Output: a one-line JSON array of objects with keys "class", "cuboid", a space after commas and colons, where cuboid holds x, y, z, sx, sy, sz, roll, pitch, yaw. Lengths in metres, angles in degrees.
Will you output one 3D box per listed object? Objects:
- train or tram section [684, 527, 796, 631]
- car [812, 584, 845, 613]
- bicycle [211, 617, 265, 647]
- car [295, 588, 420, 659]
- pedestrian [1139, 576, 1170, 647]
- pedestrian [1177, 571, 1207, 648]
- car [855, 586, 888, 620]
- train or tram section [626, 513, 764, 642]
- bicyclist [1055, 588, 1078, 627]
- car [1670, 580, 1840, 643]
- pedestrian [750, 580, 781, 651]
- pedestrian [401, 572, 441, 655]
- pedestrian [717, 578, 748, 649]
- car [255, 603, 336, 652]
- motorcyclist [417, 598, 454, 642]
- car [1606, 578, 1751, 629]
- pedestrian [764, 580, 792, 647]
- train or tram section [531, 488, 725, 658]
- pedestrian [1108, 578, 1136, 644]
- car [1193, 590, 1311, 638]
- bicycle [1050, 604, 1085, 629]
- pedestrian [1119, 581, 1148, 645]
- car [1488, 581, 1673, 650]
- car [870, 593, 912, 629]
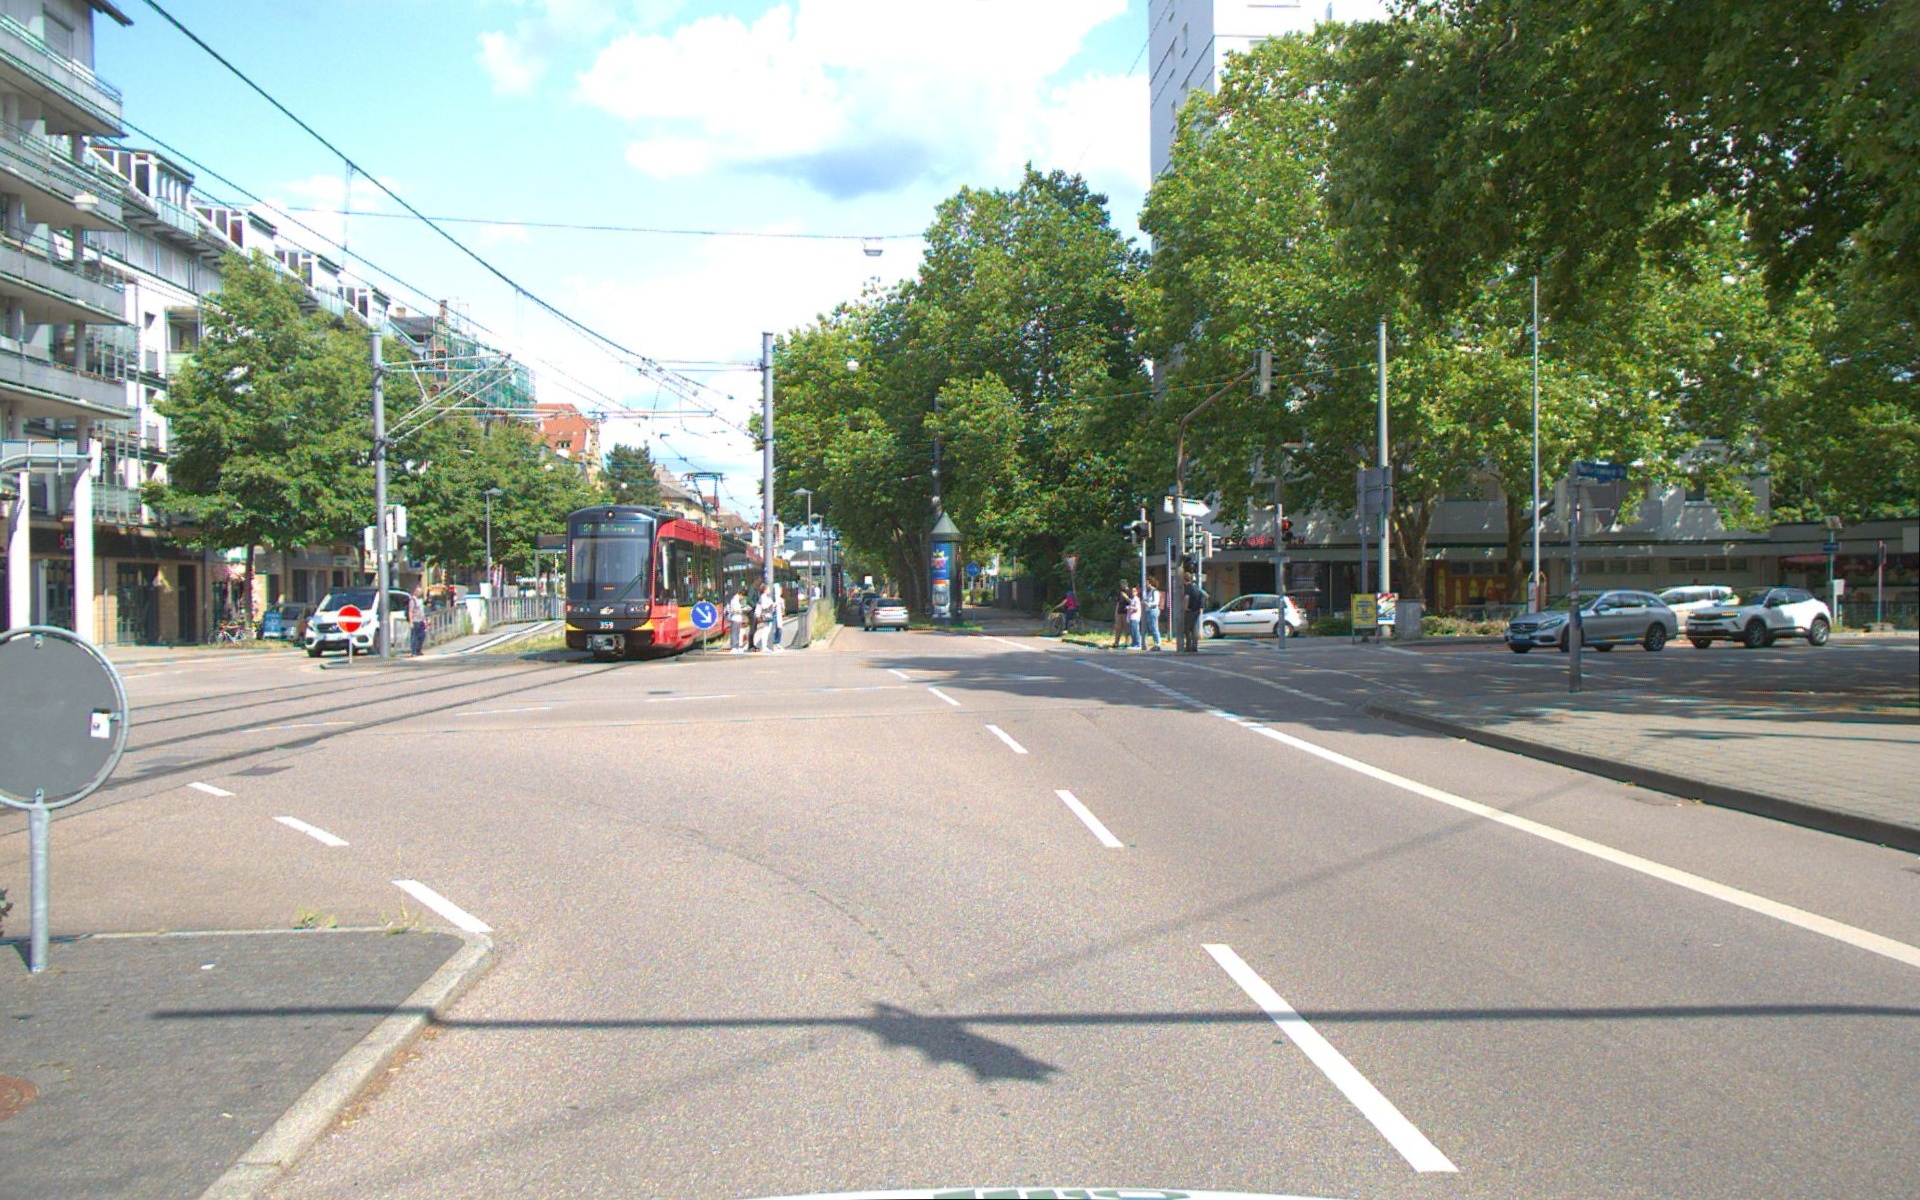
[{"class": "train or tram section", "cuboid": [-8.381, -0.803, 64.528, 2.748, 3.623, 12.156, -1, 0, 0]}, {"class": "car", "cuboid": [-8.433, -0.118, 106.172, 1.778, 1.836, 3.999, -1, 0, -1]}, {"class": "bicycle", "cuboid": [-25.468, 1.111, 58.370, 1.656, 1.003, 0.497, -1, 0, -7]}, {"class": "car", "cuboid": [-17.376, 0.622, 47.982, 1.954, 1.924, 5.169, -1, 0, -3]}, {"class": "pedestrian", "cuboid": [4.891, 0.275, 41.616, 0.520, 1.766, 0.552, -1, 0, -25]}, {"class": "pedestrian", "cuboid": [5.635, 0.225, 40.157, 0.472, 1.857, 0.554, -1, 0, 39]}, {"class": "car", "cuboid": [-5.551, 0.168, 103.324, 1.954, 2.049, 3.996, 0, 0, -4]}, {"class": "train or tram section", "cuboid": [-8.238, -0.683, 52.877, 2.749, 3.623, 11.179, -1, 0, -1]}, {"class": "bicyclist", "cuboid": [3.931, 0.286, 60.932, 0.605, 1.409, 0.876, -1, 0, -13]}, {"class": "car", "cuboid": [20.490, 0.274, 42.636, 4.011, 1.516, 1.846, -1, 0, -25]}, {"class": "pedestrian", "cuboid": [-4.854, 0.380, 41.294, 0.656, 1.732, 0.648, -1, 0, -1]}, {"class": "pedestrian", "cuboid": [-13.523, 0.343, 41.486, 0.723, 2.049, 0.704, -1, 0, 2]}, {"class": "pedestrian", "cuboid": [-5.672, 0.334, 41.285, 0.656, 1.732, 0.648, -1, 0, -1]}, {"class": "car", "cuboid": [-26.386, 1.058, 65.773, 1.810, 1.821, 3.996, 1, 0, -4]}, {"class": "motorcyclist", "cuboid": [-17.359, 0.662, 54.739, 0.876, 1.428, 1.087, -1, 0, -3]}, {"class": "car", "cuboid": [22.575, 0.104, 52.032, 3.765, 1.516, 1.857, -1, 0, -9]}, {"class": "pedestrian", "cuboid": [-4.763, 0.347, 43.347, 0.656, 1.732, 0.648, -1, 0, -1]}, {"class": "train or tram section", "cuboid": [-8.008, -0.635, 41.586, 2.739, 3.623, 11.374, -1, 0, -1]}, {"class": "pedestrian", "cuboid": [4.252, 0.291, 43.528, 0.504, 1.700, 0.552, -1, 0, -25]}, {"class": "car", "cuboid": [9.648, 0.451, 54.637, 3.585, 1.510, 1.736, -1, 0, 21]}, {"class": "bicycle", "cuboid": [3.933, 0.603, 60.954, 0.605, 0.895, 2.529, -1, 0, -12]}, {"class": "pedestrian", "cuboid": [4.504, 0.334, 42.951, 0.504, 1.625, 0.552, -1, 0, -25]}, {"class": "car", "cuboid": [14.872, 0.349, 39.663, 3.929, 1.516, 1.850, -1, 0, -21]}, {"class": "car", "cuboid": [-3.041, 0.458, 73.163, 1.713, 1.478, 3.605, -1, 0, -1]}]
